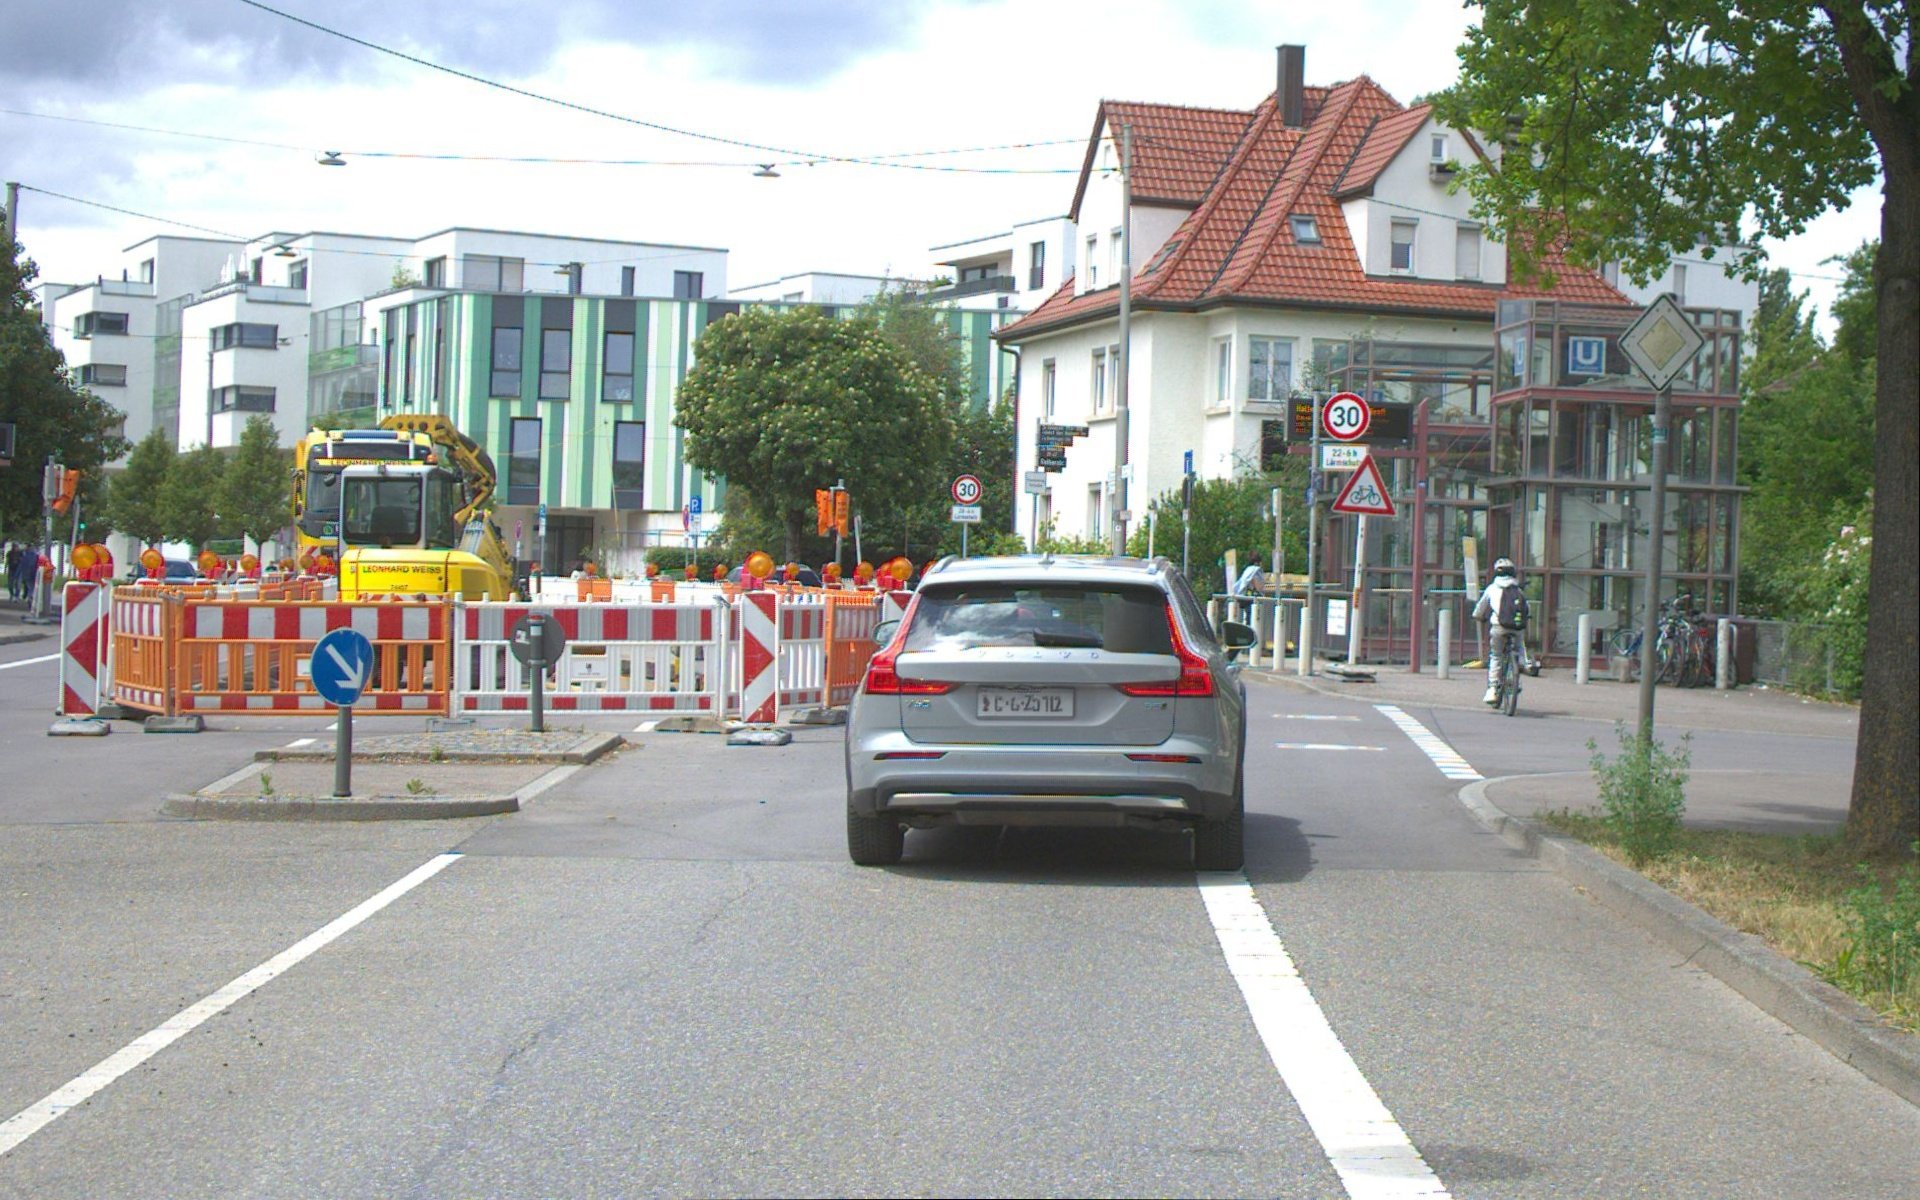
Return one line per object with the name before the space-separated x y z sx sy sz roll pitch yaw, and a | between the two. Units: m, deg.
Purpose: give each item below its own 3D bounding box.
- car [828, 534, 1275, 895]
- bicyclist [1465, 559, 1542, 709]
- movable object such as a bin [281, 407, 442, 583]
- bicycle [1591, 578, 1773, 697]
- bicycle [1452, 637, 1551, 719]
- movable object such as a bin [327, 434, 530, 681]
car | 0.527 0.470 17.109 1.928 1.535 4.000 2 1 4
bicyclist | 5.819 0.368 36.837 0.589 1.553 0.567 4 -1 -5
movable object such as a bin | -10.975 -1.878 62.660 2.310 2.980 6.429 2 1 -14
bicycle | 8.995 0.438 43.027 1.391 1.186 3.472 4 3 -1
bicycle | 5.789 0.829 36.816 0.594 0.809 1.754 4 -1 -5
movable object such as a bin | -6.148 -0.511 40.354 2.034 2.634 5.941 2 1 -6
